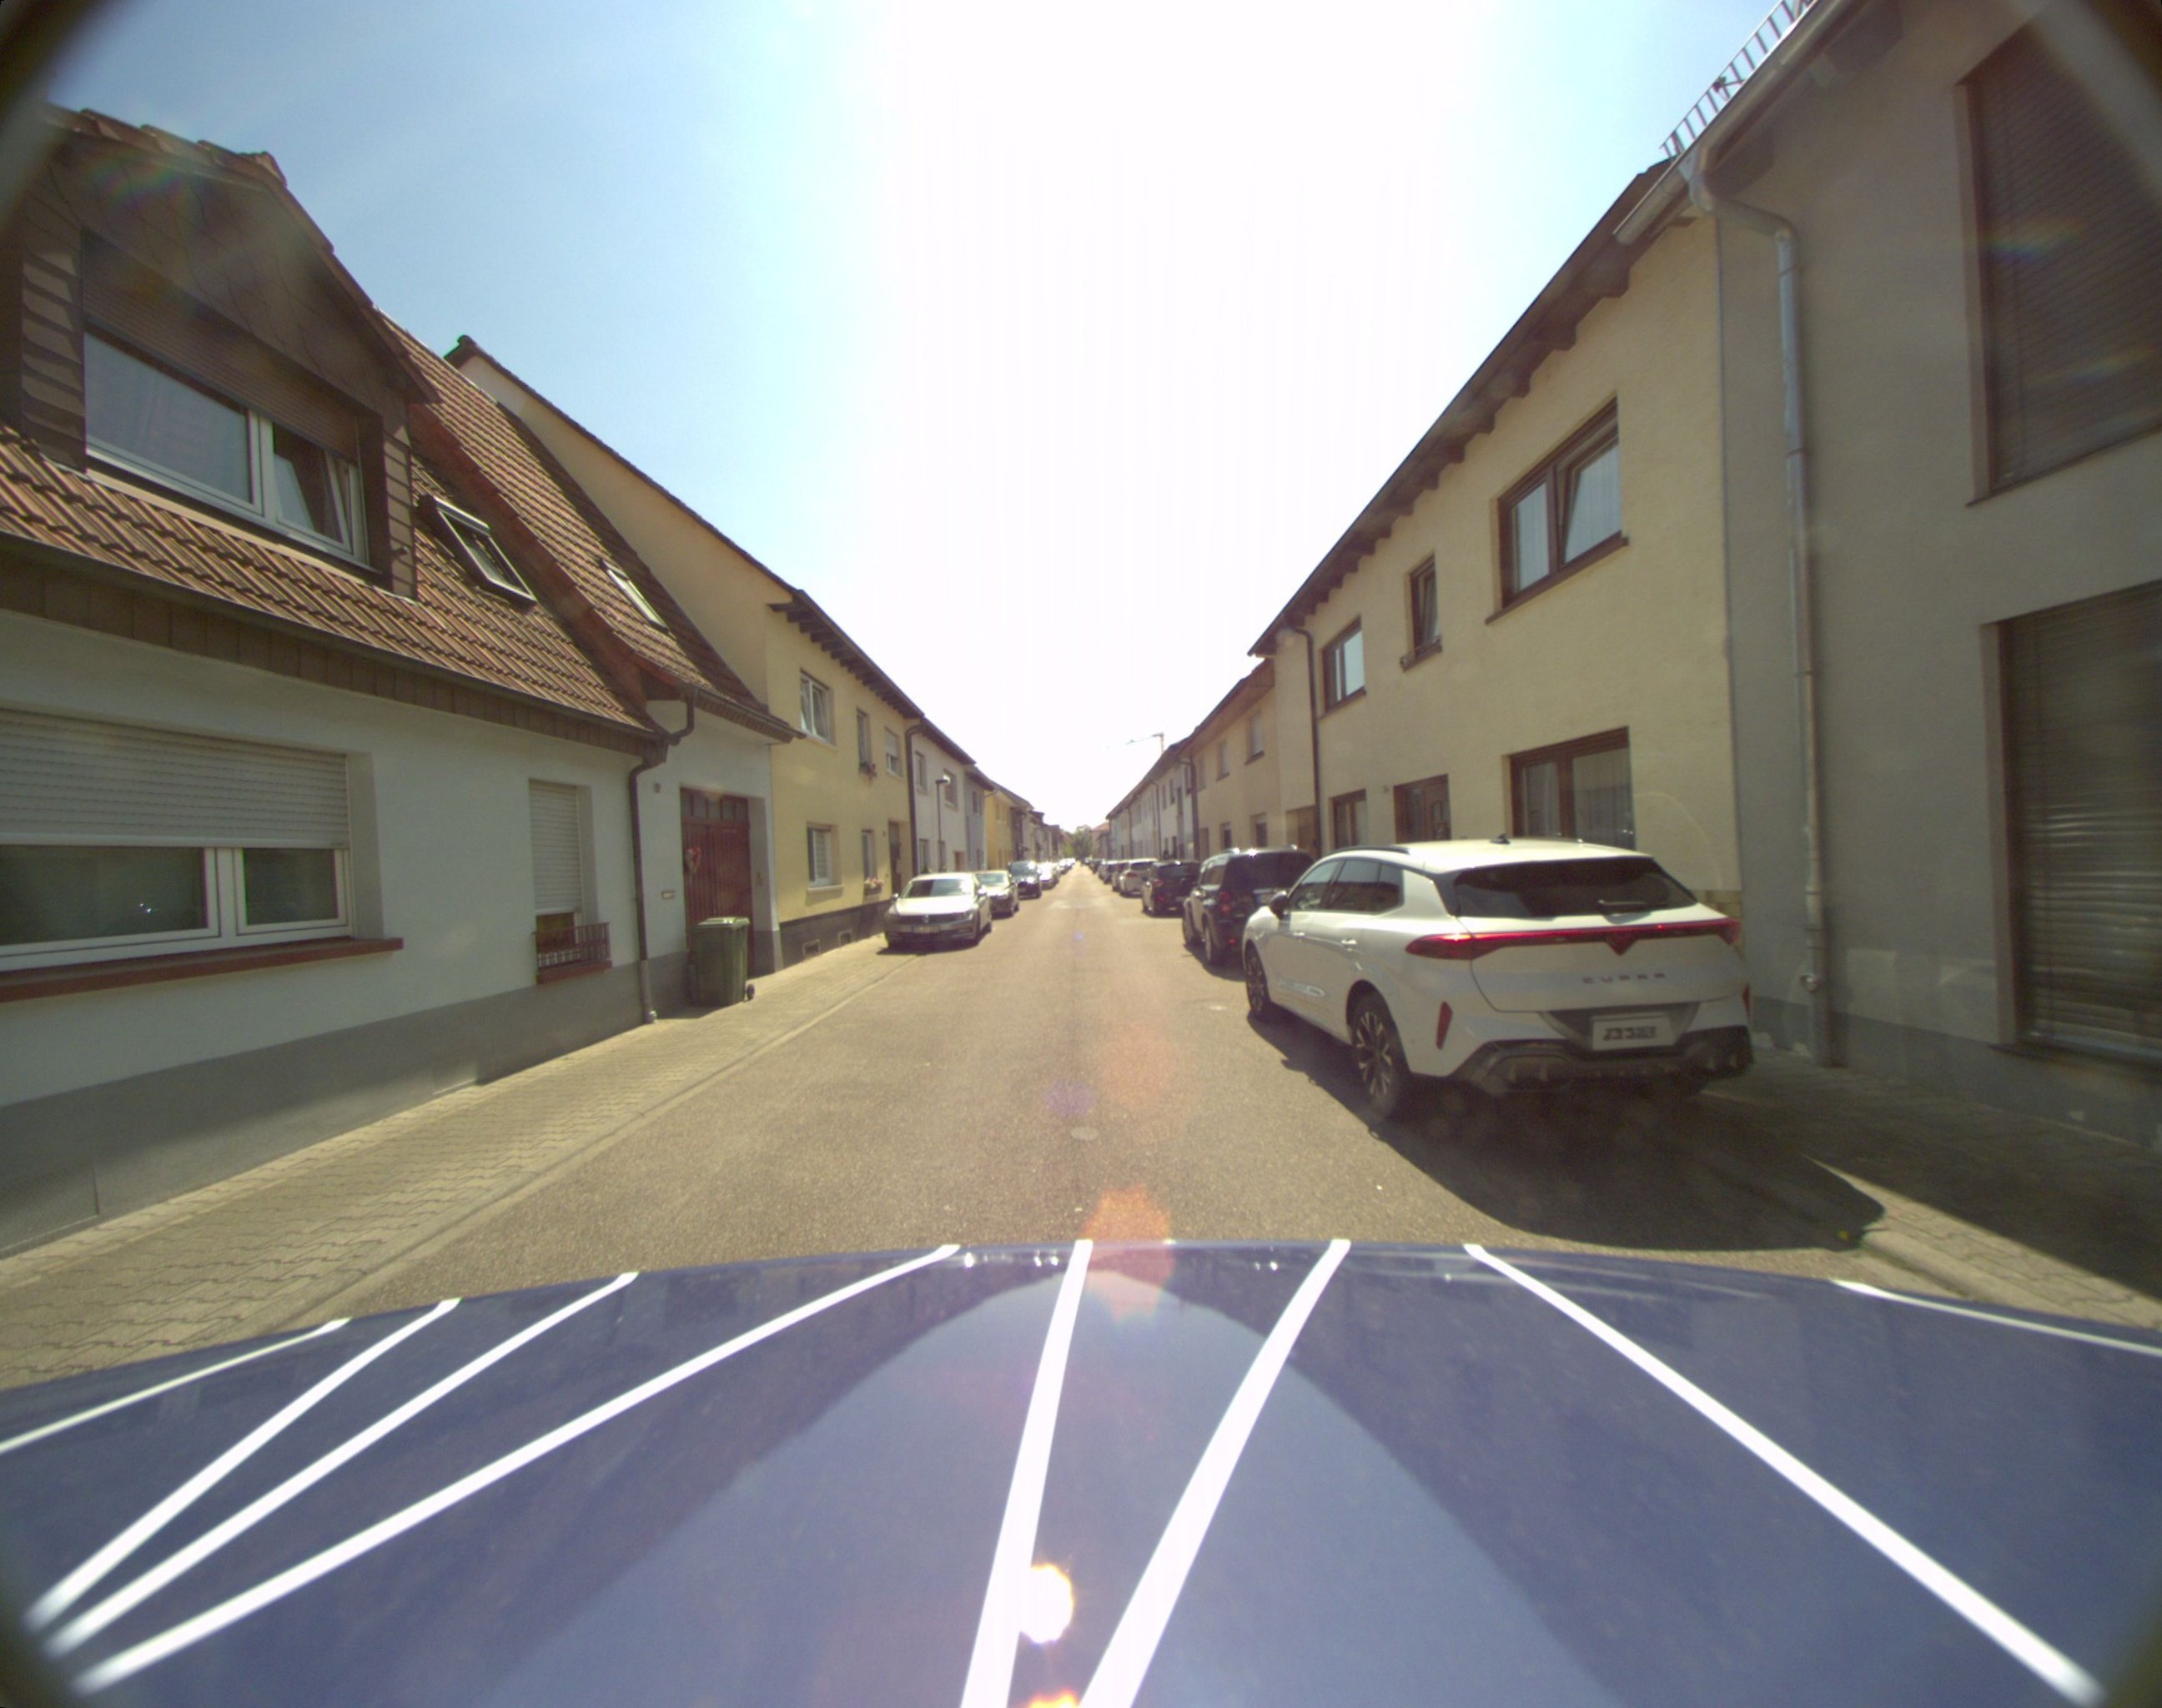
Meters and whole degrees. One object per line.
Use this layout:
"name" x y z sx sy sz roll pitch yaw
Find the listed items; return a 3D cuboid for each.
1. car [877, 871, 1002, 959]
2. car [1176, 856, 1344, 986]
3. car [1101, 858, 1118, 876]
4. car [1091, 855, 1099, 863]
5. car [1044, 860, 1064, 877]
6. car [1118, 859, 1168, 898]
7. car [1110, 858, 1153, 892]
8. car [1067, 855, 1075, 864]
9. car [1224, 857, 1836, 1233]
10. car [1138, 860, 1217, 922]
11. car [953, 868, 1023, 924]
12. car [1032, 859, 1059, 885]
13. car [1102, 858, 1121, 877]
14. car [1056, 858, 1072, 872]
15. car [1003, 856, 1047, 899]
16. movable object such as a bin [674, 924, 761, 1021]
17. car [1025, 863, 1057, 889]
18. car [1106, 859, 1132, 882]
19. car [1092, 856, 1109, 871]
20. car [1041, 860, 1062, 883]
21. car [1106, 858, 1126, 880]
"car" -2.921 1.195 16.747 1.843 1.440 4.775 -4 0 -1
"car" 2.556 0.868 11.775 1.726 1.606 3.989 -2 0 2
"car" 2.496 1.095 66.516 1.414 1.446 3.543 -2 0 1
"car" 2.461 0.840 136.249 1.414 1.389 3.323 -2 0 0
"car" -2.553 1.361 72.954 1.743 1.459 4.045 -4 0 -1
"car" 2.625 1.002 32.862 1.667 1.540 3.941 0 0 -3
"car" 2.516 1.001 38.354 1.667 1.532 3.687 -3 0 -3
"car" -1.944 1.030 145.426 1.414 1.604 3.323 -2 0 0
"car" 2.453 0.861 5.594 1.779 1.606 4.348 -2 0 -2
"car" 2.649 0.972 21.652 1.644 1.528 3.941 -2 0 -1
"car" -2.826 1.262 23.938 1.701 1.427 4.102 -4 0 -1
"car" -2.344 1.184 51.291 1.684 1.575 3.961 -3 0 -2
"car" 2.394 1.072 61.009 1.414 1.446 3.462 -2 0 1
"car" -2.073 1.349 91.385 1.736 1.502 3.623 -4 0 0
"car" -2.551 1.054 35.655 1.701 1.767 4.198 -3 1 0
"movable object such as a bin" -4.538 1.456 9.533 0.660 1.065 0.813 -3 0 -2
"car" -2.356 1.310 45.961 1.666 1.406 4.248 -2 0 0
"car" 2.533 1.098 51.030 1.606 1.434 3.214 -2 0 1
"car" 2.258 1.098 88.313 1.819 1.598 3.887 -2 0 0
"car" -2.158 1.284 56.907 1.403 1.518 3.398 -4 0 -1
"car" 2.552 1.067 55.872 1.414 1.519 3.025 -2 0 1
